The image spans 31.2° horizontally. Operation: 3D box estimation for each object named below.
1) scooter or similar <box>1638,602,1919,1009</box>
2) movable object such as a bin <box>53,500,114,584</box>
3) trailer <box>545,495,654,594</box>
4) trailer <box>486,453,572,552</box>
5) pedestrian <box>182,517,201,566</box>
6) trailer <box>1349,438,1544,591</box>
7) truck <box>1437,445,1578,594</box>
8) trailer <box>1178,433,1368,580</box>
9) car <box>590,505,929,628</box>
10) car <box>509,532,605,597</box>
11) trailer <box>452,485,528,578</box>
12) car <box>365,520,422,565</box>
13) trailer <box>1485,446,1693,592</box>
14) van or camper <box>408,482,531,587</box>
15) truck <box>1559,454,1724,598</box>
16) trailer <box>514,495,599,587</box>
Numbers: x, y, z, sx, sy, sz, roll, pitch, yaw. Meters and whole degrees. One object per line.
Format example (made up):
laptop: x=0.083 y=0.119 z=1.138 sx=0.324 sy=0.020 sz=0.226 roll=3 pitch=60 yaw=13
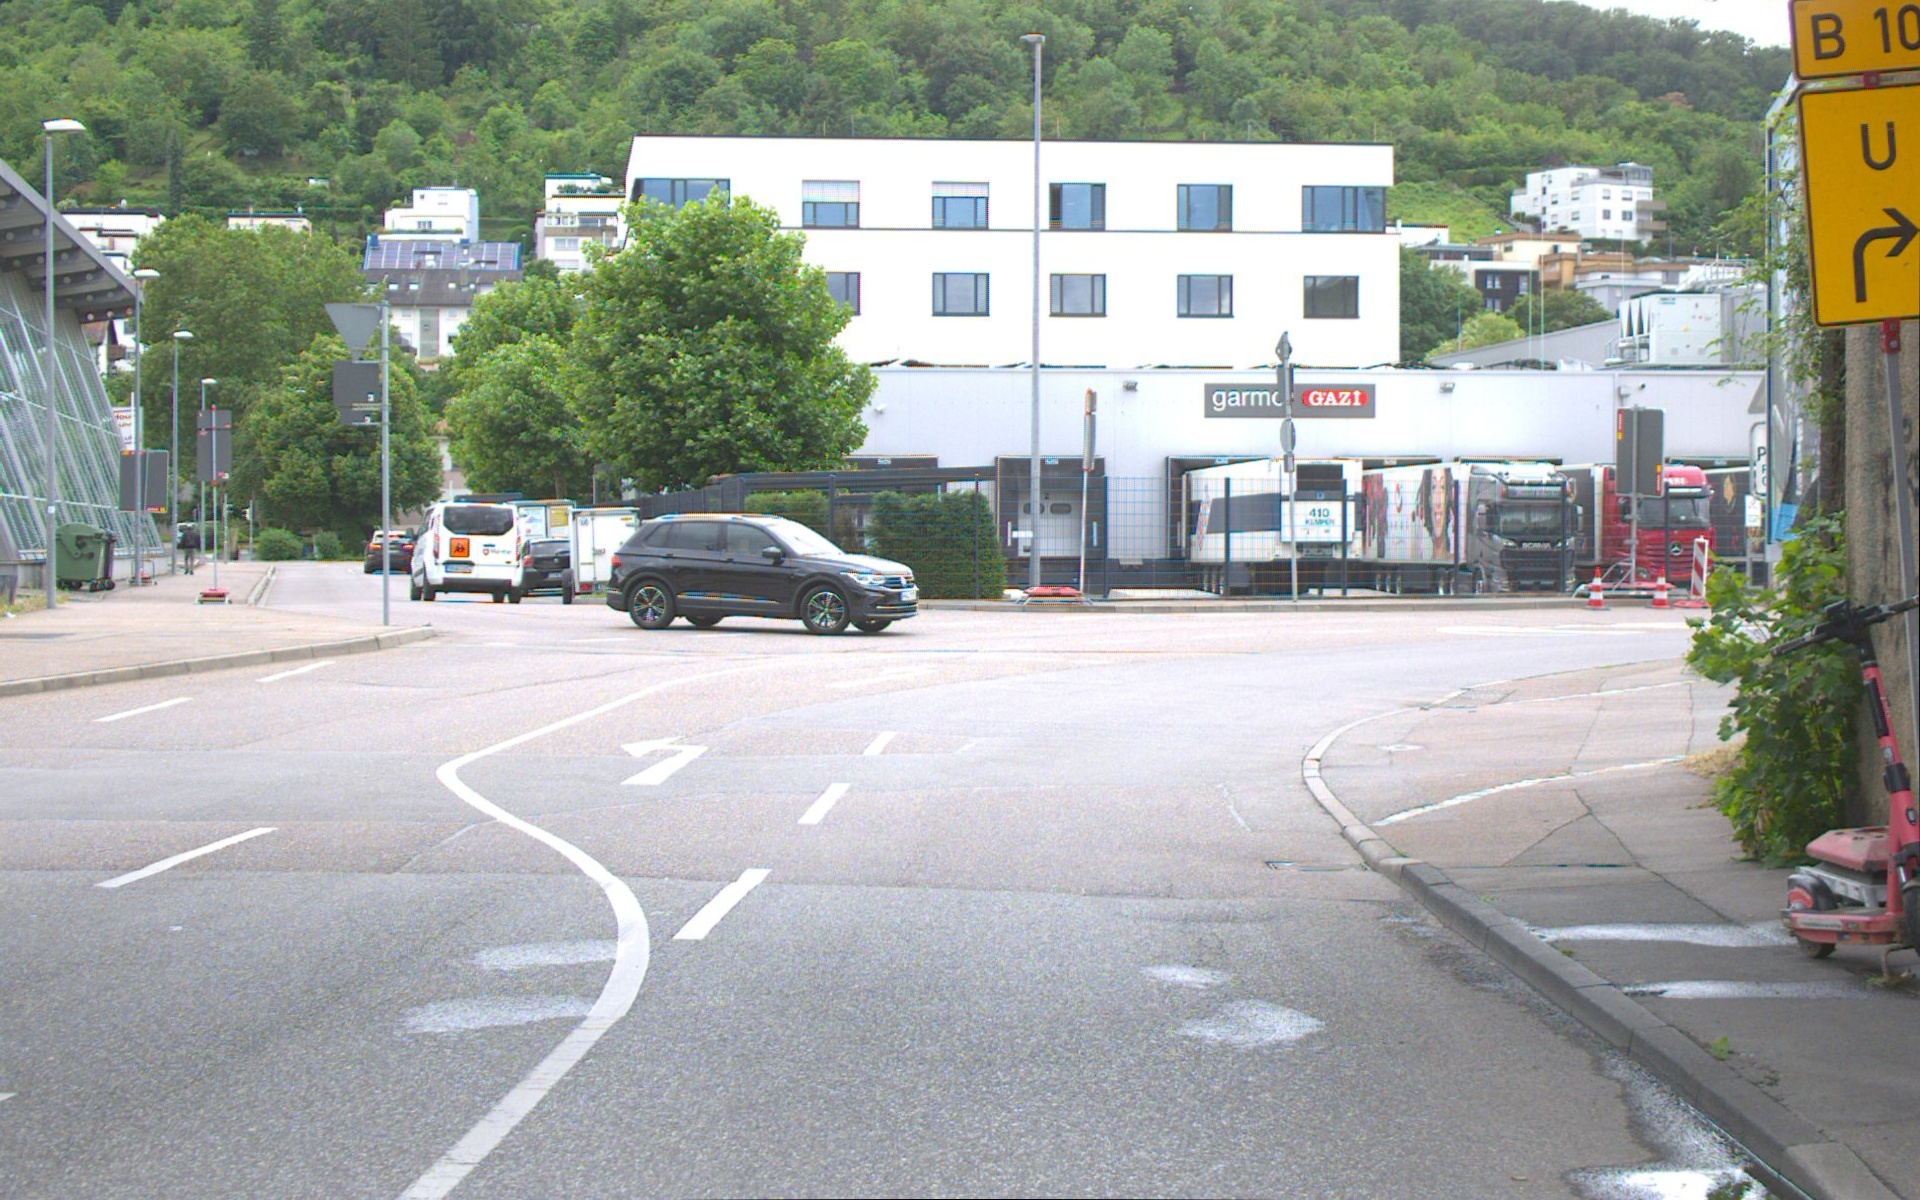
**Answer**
scooter or similar: x=2.923 y=0.647 z=11.676 sx=0.504 sy=1.232 sz=1.670 roll=-4 pitch=1 yaw=-13
movable object such as a bin: x=-18.599 y=-1.229 z=72.962 sx=1.142 sy=1.751 sz=1.059 roll=0 pitch=0 yaw=-8
trailer: x=-7.628 y=-1.186 z=72.408 sx=1.993 sy=2.007 sz=4.001 roll=1 pitch=2 yaw=-10
trailer: x=-16.847 y=-3.788 z=134.051 sx=3.067 sy=3.746 sz=4.935 roll=1 pitch=2 yaw=-10
pedestrian: x=-26.209 y=-1.982 z=117.191 sx=0.627 sy=1.667 sz=0.758 roll=0 pitch=0 yaw=-13
trailer: x=14.367 y=-2.495 z=102.604 sx=2.782 sy=4.286 sz=11.185 roll=1 pitch=1 yaw=-8
truck: x=15.235 y=-2.234 z=95.970 sx=2.792 sy=4.026 sz=4.166 roll=1 pitch=1 yaw=-7
trailer: x=9.094 y=-2.686 z=101.510 sx=3.080 sy=4.064 sz=11.413 roll=1 pitch=1 yaw=-8
car: x=-2.791 y=-0.475 z=48.229 sx=4.359 sy=1.678 sz=1.999 roll=0 pitch=1 yaw=13
car: x=-9.926 y=-0.888 z=84.456 sx=1.993 sy=1.503 sz=4.183 roll=1 pitch=2 yaw=-12
trailer: x=-15.297 y=-2.253 z=111.699 sx=2.278 sy=2.943 sz=4.001 roll=1 pitch=2 yaw=-10
car: x=-21.562 y=-2.181 z=130.902 sx=1.993 sy=1.678 sz=4.001 roll=0 pitch=1 yaw=-7
trailer: x=18.542 y=-2.368 z=102.226 sx=2.782 sy=4.064 sz=10.999 roll=1 pitch=1 yaw=-8
van or camper: x=-10.118 y=-1.322 z=70.667 sx=2.098 sy=2.076 sz=4.207 roll=0 pitch=1 yaw=-14
truck: x=19.217 y=-2.073 z=97.269 sx=2.792 sy=3.915 sz=5.927 roll=1 pitch=1 yaw=-7
trailer: x=-10.602 y=-1.560 z=90.131 sx=1.993 sy=2.335 sz=4.001 roll=1 pitch=2 yaw=-10
